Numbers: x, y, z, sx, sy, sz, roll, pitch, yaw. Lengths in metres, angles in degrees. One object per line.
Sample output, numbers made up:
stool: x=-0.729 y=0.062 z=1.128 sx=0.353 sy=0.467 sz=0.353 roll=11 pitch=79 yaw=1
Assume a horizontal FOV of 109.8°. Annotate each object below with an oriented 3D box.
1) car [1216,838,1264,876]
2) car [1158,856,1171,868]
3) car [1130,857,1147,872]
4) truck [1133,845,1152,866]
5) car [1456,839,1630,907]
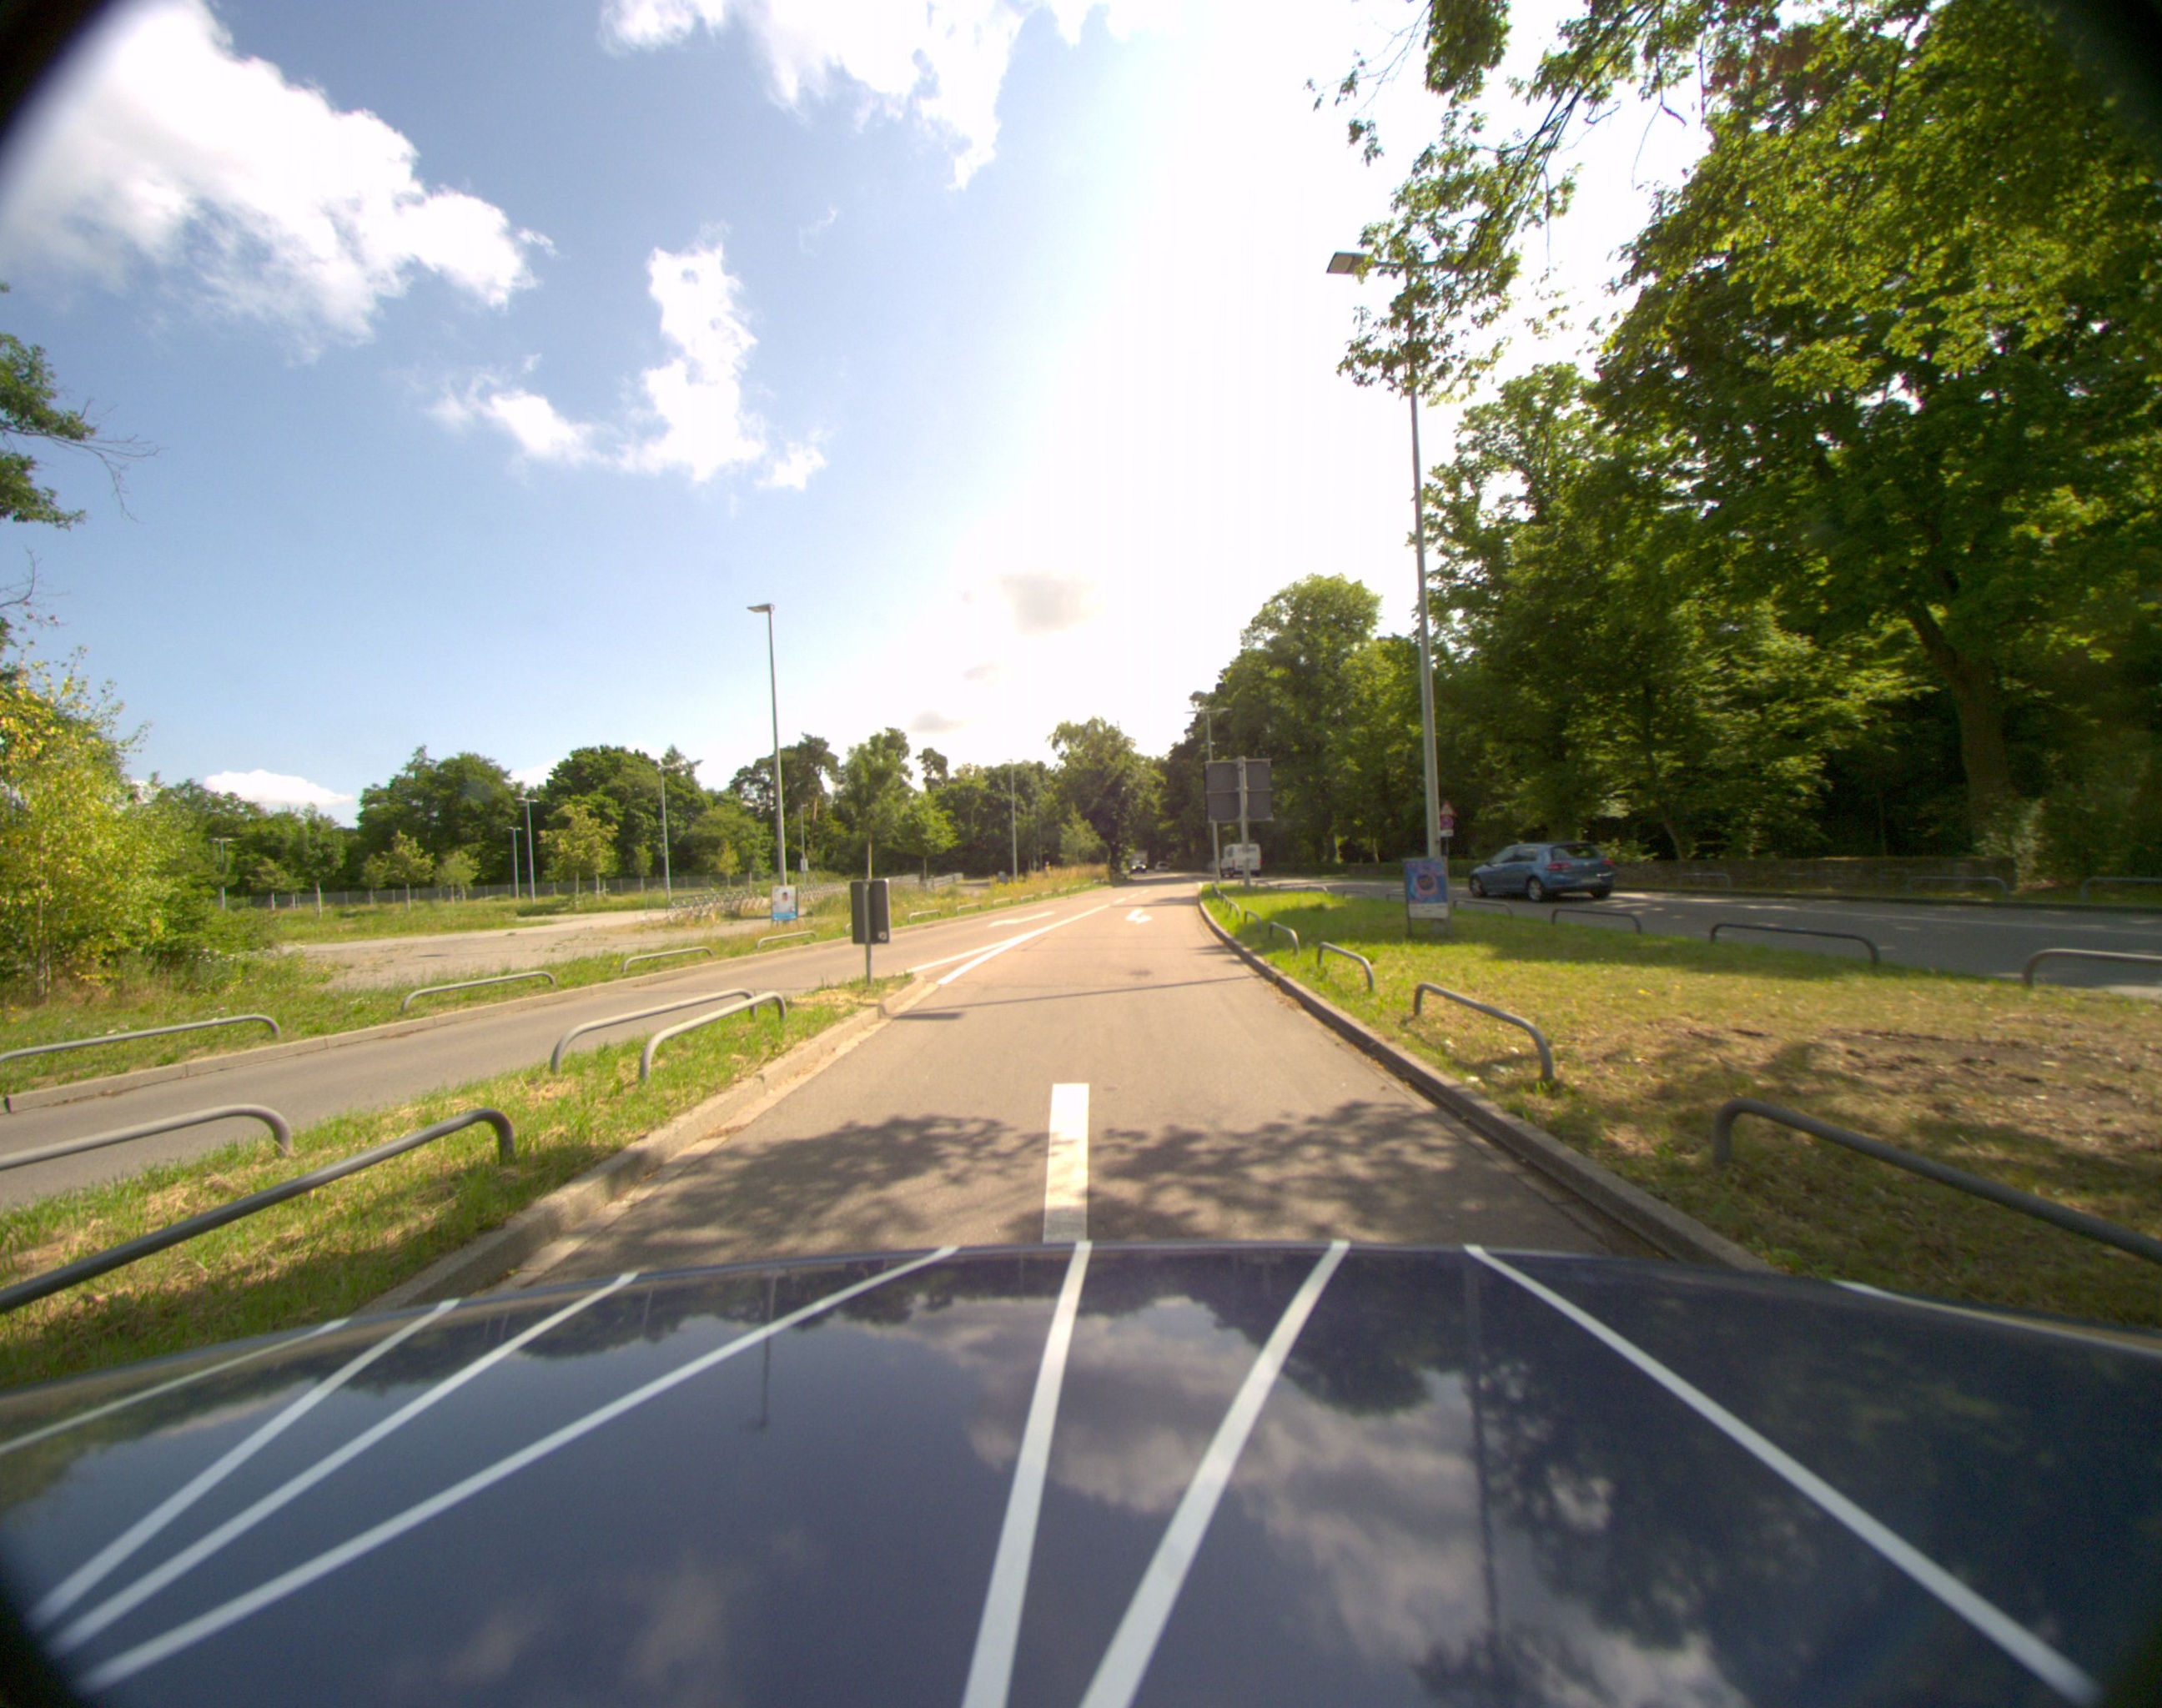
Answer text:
car: x=11.100 y=0.165 z=53.459 sx=1.980 sy=2.417 sz=5.361 roll=-4 pitch=1 yaw=-2
car: x=11.990 y=1.139 z=109.500 sx=1.655 sy=1.461 sz=3.871 roll=-2 pitch=1 yaw=3
car: x=7.606 y=1.402 z=101.271 sx=1.980 sy=1.754 sz=4.707 roll=-3 pitch=1 yaw=2
truck: x=11.089 y=0.216 z=137.657 sx=2.914 sy=3.609 sz=7.004 roll=-2 pitch=1 yaw=1
car: x=11.655 y=0.432 z=19.533 sx=1.699 sy=1.438 sz=4.065 roll=-4 pitch=1 yaw=-5
